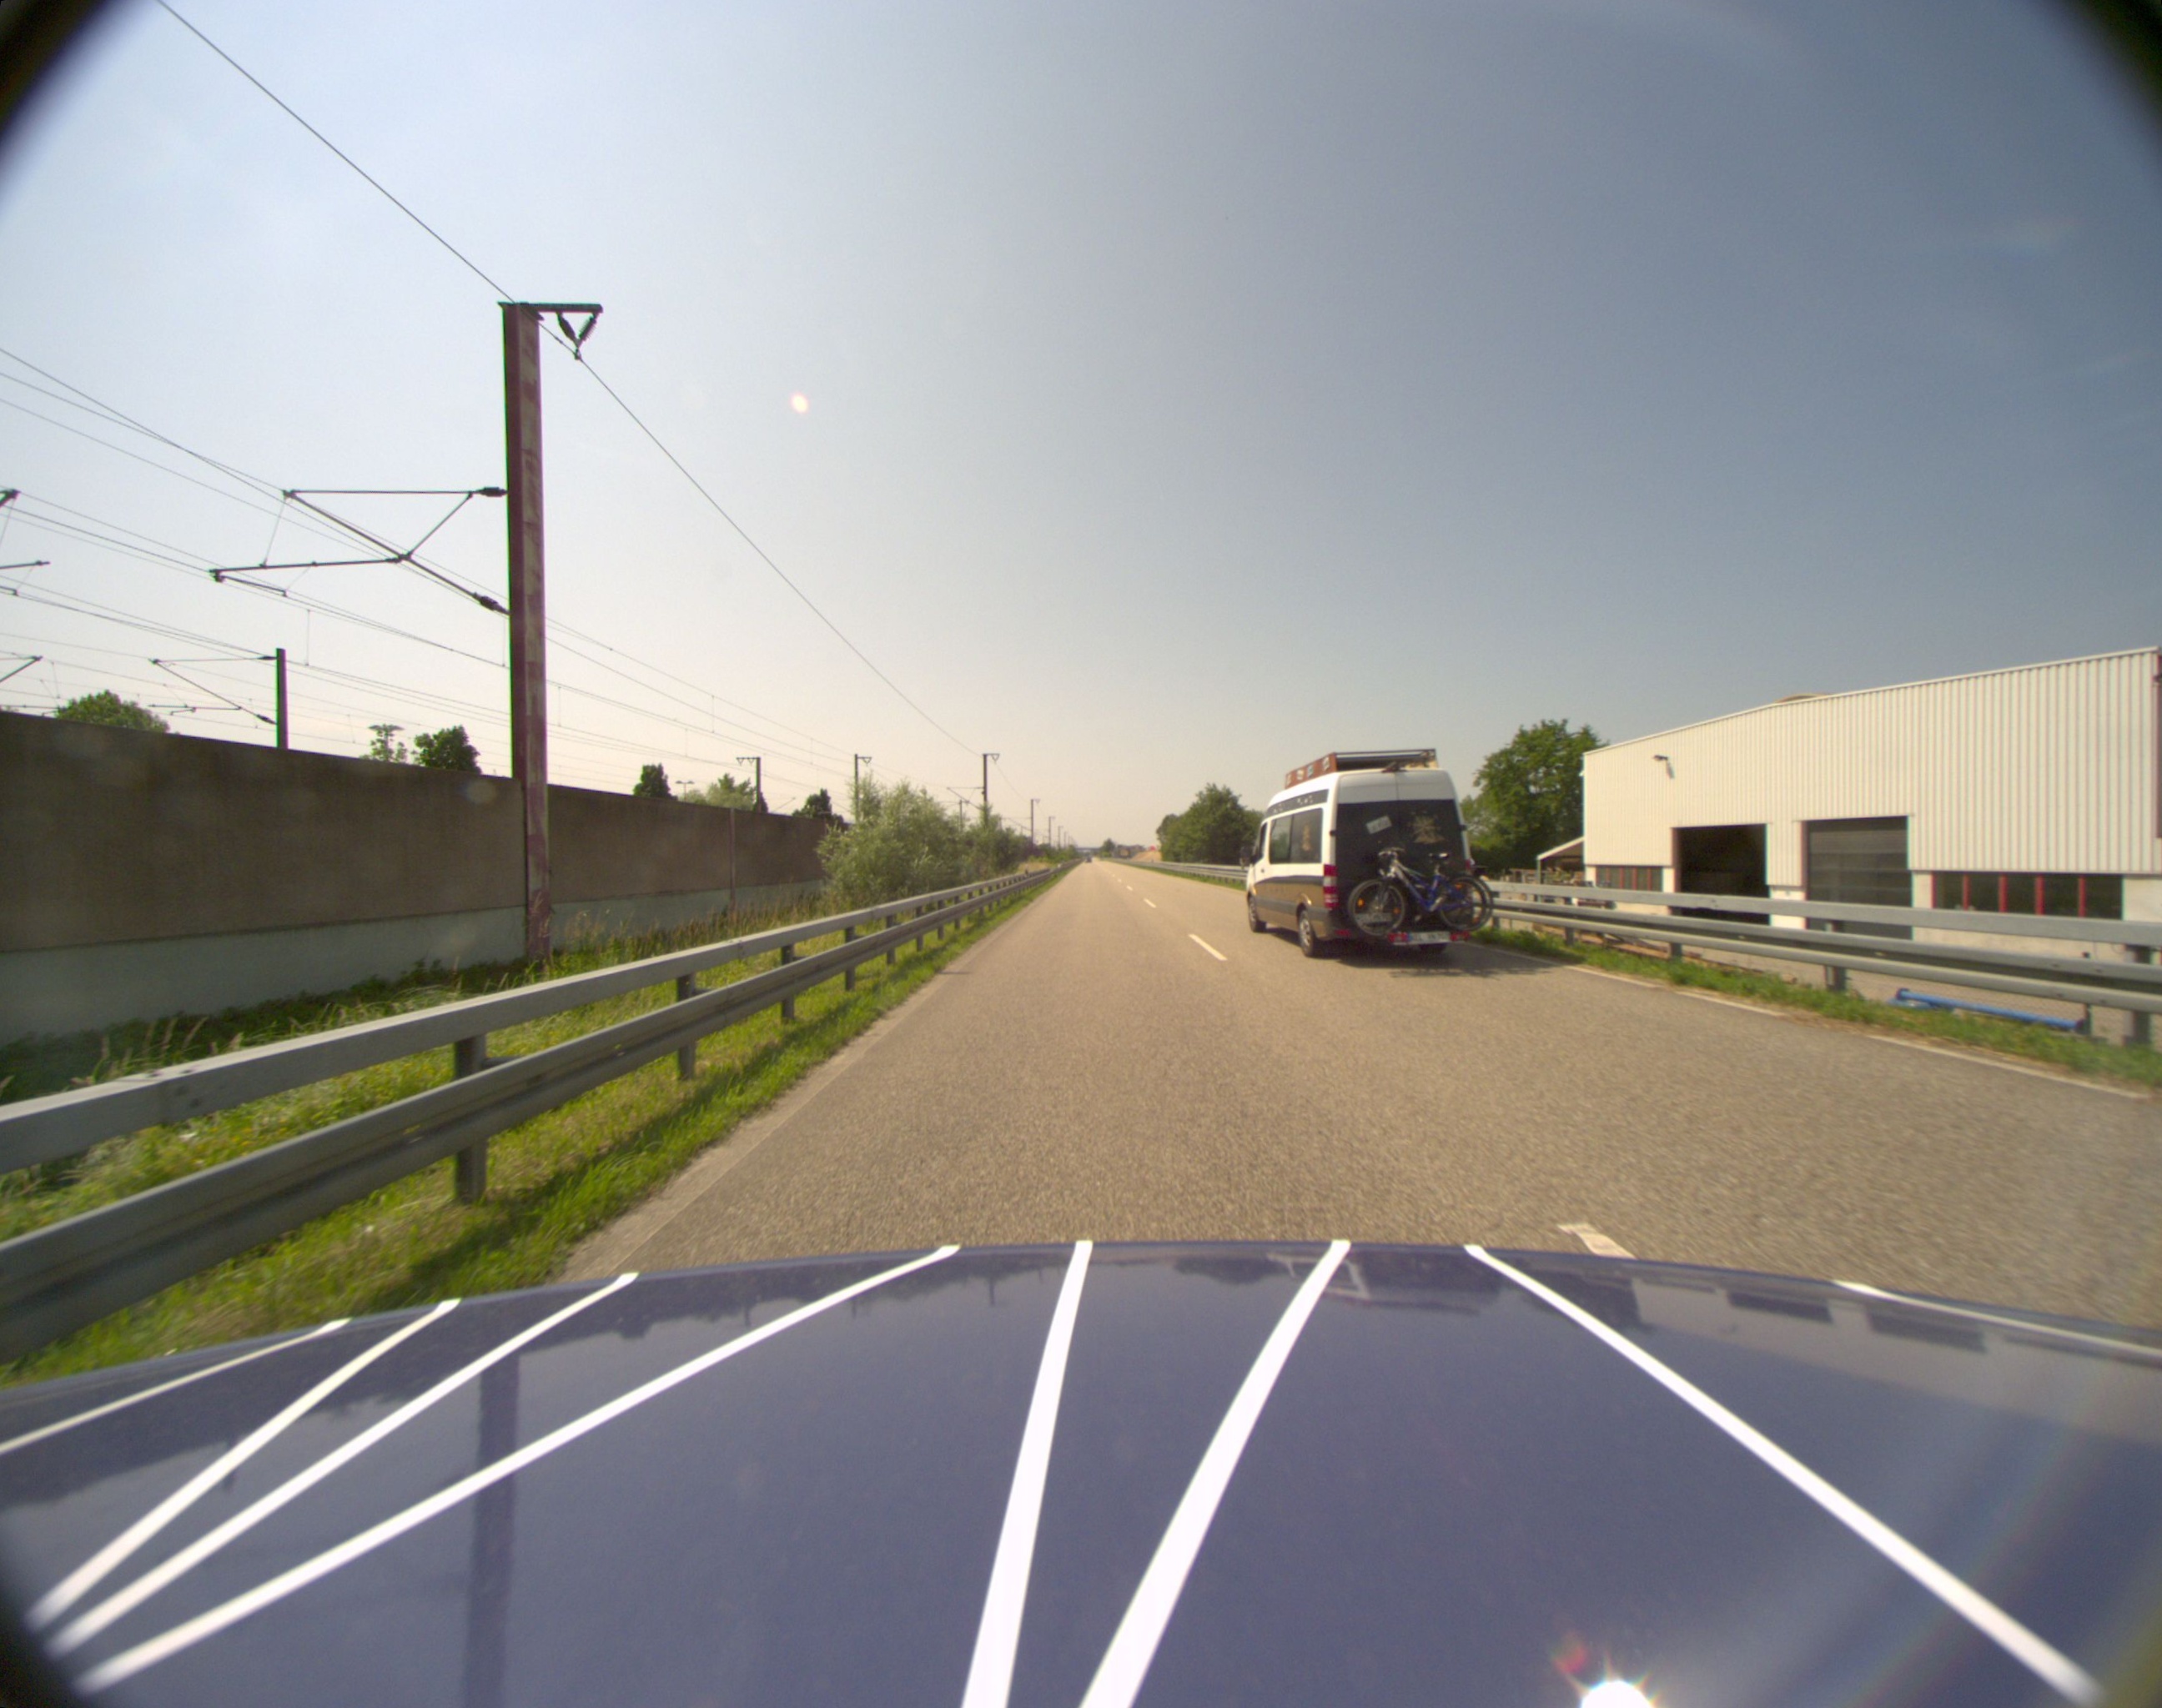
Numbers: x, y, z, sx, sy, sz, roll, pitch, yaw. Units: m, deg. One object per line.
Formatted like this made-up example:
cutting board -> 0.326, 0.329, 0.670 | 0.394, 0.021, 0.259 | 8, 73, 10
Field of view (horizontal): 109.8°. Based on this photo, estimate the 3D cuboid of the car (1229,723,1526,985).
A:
car -> 4.102, -0.015, 12.177 | 2.084, 2.945, 6.729 | -2, 0, 1

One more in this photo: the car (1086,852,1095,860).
car -> 2.572, 0.490, 205.465 | 1.999, 2.002, 3.999 | -2, 0, -1
